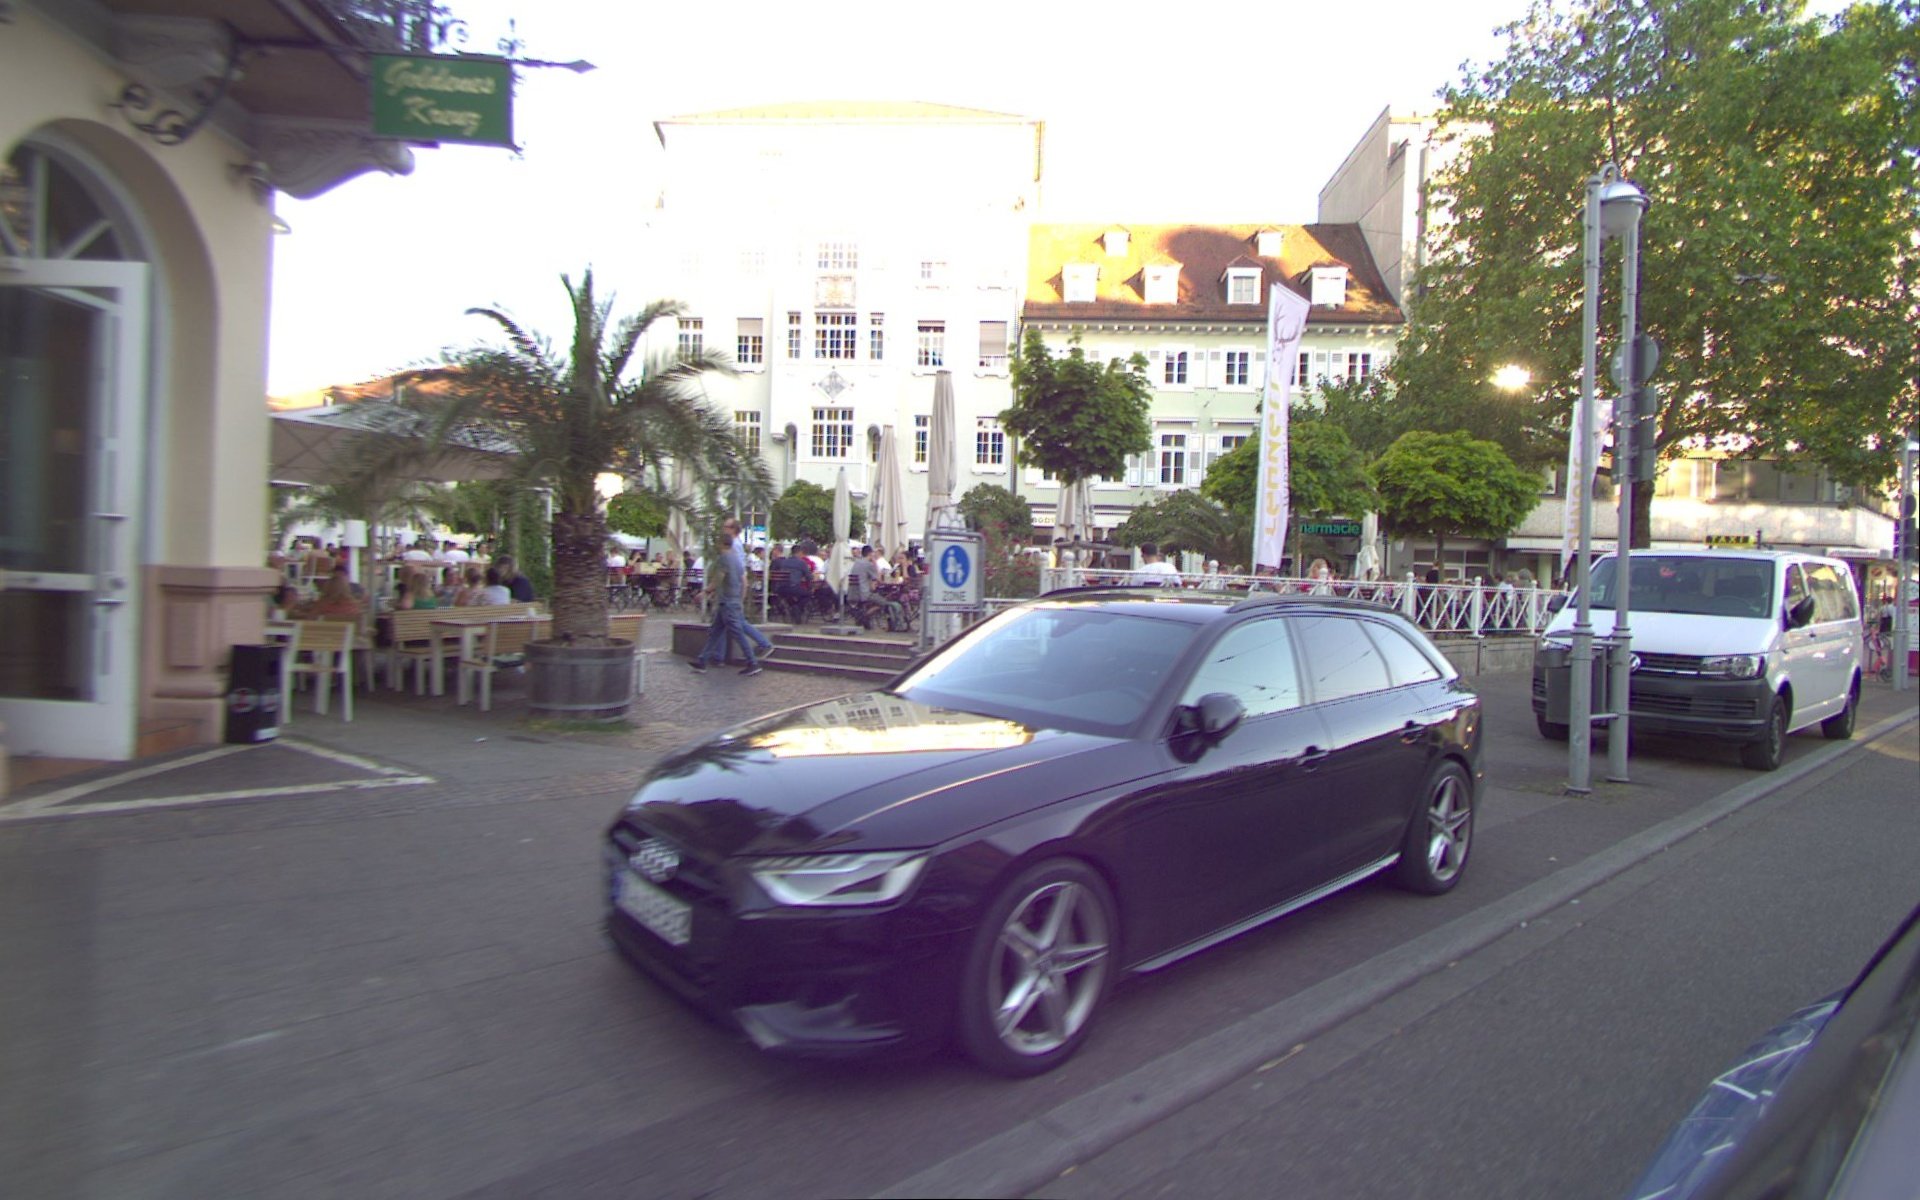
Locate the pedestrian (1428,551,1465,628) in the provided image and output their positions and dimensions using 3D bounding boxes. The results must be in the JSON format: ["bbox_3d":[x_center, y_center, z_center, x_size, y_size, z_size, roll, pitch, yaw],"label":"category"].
[{"bbox_3d":[10.166,-0.214,21.135,0.523,1.578,0.490,1,1,-40],"label":"pedestrian"}]

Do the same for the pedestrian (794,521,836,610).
[{"bbox_3d":[-2.850,-0.668,19.872,0.530,1.718,0.581,2,1,43],"label":"pedestrian"}]

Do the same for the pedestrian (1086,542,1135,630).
[{"bbox_3d":[2.347,-0.220,15.808,0.482,1.349,0.531,1,1,-40],"label":"pedestrian"}]

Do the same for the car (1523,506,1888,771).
[{"bbox_3d":[7.810,0.267,10.368,5.124,2.092,1.856,0,2,-41],"label":"car"}]

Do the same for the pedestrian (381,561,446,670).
[{"bbox_3d":[-6.719,0.174,12.438,0.592,1.296,0.484,2,1,37],"label":"pedestrian"}]

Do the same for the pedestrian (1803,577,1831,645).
[{"bbox_3d":[22.677,0.290,26.785,0.428,1.757,0.405,3,2,31],"label":"pedestrian"}]

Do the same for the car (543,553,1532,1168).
[{"bbox_3d":[0.735,0.577,4.479,4.468,1.407,1.700,0,3,-41],"label":"car"}]

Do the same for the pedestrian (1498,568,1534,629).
[{"bbox_3d":[12.185,-0.034,22.169,0.482,1.313,0.531,1,1,-40],"label":"pedestrian"}]

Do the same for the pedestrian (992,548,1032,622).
[{"bbox_3d":[0.961,-0.280,18.717,0.523,1.349,0.490,1,1,-40],"label":"pedestrian"}]

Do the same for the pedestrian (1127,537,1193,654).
[{"bbox_3d":[2.295,-0.058,11.641,0.482,1.312,0.531,1,1,-40],"label":"pedestrian"}]

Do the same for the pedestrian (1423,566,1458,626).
[{"bbox_3d":[10.853,-0.092,22.863,0.482,1.313,0.531,1,1,-40],"label":"pedestrian"}]

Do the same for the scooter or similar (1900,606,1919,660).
[{"bbox_3d":[23.310,0.799,24.532,1.627,1.247,0.534,0,3,-41],"label":"scooter or similar"}]

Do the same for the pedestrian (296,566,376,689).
[{"bbox_3d":[-6.521,0.268,10.582,0.665,1.232,0.484,2,1,37],"label":"pedestrian"}]

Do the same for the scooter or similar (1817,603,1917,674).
[{"bbox_3d":[17.624,0.730,19.677,0.526,1.247,1.344,0,4,-42],"label":"scooter or similar"}]

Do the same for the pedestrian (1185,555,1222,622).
[{"bbox_3d":[4.960,-0.241,20.616,0.523,1.349,0.490,1,1,-40],"label":"pedestrian"}]

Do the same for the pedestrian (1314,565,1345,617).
[{"bbox_3d":[9.416,-0.224,25.777,0.482,1.313,0.531,1,1,-40],"label":"pedestrian"}]

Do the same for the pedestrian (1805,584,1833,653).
[{"bbox_3d":[22.266,0.469,26.227,0.403,1.757,0.430,1,2,-45],"label":"pedestrian"}]

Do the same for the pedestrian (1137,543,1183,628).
[{"bbox_3d":[3.262,-0.236,16.520,0.482,1.349,0.531,1,1,-40],"label":"pedestrian"}]

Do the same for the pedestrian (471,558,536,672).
[{"bbox_3d":[-5.559,0.167,12.324,0.592,1.344,0.484,2,1,37],"label":"pedestrian"}]

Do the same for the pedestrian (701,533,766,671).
[{"bbox_3d":[-2.771,0.015,12.389,0.552,1.629,0.524,2,1,43],"label":"pedestrian"}]

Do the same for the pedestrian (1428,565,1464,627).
[{"bbox_3d":[10.601,-0.088,22.077,0.523,1.313,0.490,1,1,-40],"label":"pedestrian"}]

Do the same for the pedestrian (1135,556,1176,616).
[{"bbox_3d":[4.471,-0.320,23.116,0.653,1.349,0.628,1,1,-40],"label":"pedestrian"}]

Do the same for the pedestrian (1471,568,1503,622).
[{"bbox_3d":[13.112,-0.127,25.173,0.482,1.313,0.531,1,1,-40],"label":"pedestrian"}]

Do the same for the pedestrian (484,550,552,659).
[{"bbox_3d":[-5.672,0.049,12.992,0.488,1.344,0.629,2,1,36],"label":"pedestrian"}]

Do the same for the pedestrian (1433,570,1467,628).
[{"bbox_3d":[11.292,-0.029,23.311,0.482,1.313,0.531,1,1,-40],"label":"pedestrian"}]

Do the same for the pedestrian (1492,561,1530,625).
[{"bbox_3d":[11.826,-0.147,21.723,0.482,1.349,0.531,1,1,-40],"label":"pedestrian"}]

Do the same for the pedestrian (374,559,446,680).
[{"bbox_3d":[-6.129,0.207,11.286,0.592,1.296,0.484,2,1,37],"label":"pedestrian"}]

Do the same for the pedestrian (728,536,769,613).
[{"bbox_3d":[-3.817,-0.458,18.259,0.523,1.349,0.490,1,1,-40],"label":"pedestrian"}]

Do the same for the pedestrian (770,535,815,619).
[{"bbox_3d":[-2.746,-0.375,16.559,0.523,1.349,0.490,1,1,-40],"label":"pedestrian"}]

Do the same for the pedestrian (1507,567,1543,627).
[{"bbox_3d":[12.634,-0.078,22.642,0.482,1.313,0.531,1,1,-40],"label":"pedestrian"}]

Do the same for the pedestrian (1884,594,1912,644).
[{"bbox_3d":[31.851,0.631,34.371,0.635,1.645,0.512,2,1,39],"label":"pedestrian"}]

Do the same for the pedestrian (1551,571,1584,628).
[{"bbox_3d":[14.590,-0.010,24.305,0.482,1.349,0.531,1,1,-40],"label":"pedestrian"}]

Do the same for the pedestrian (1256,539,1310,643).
[{"bbox_3d":[4.202,-0.124,13.156,0.529,1.312,0.485,2,1,34],"label":"pedestrian"}]

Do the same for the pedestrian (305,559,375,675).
[{"bbox_3d":[-7.183,0.181,11.726,0.592,1.296,0.484,2,1,37],"label":"pedestrian"}]

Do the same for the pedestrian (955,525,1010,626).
[{"bbox_3d":[0.393,-0.427,17.647,0.588,1.713,0.721,2,1,42],"label":"pedestrian"}]

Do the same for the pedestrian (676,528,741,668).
[{"bbox_3d":[-3.188,-0.031,12.837,0.588,1.718,0.524,2,1,43],"label":"pedestrian"}]

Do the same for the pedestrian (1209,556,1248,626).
[{"bbox_3d":[5.261,-0.176,19.812,0.482,1.349,0.531,1,1,-40],"label":"pedestrian"}]

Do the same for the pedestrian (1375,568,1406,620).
[{"bbox_3d":[11.001,-0.153,25.851,0.482,1.313,0.531,1,1,-40],"label":"pedestrian"}]

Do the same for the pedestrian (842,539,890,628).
[{"bbox_3d":[-1.461,-0.258,15.751,0.523,1.349,0.490,1,1,-40],"label":"pedestrian"}]

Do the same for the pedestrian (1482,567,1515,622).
[{"bbox_3d":[13.071,-0.139,24.555,0.482,1.313,0.531,1,1,-40],"label":"pedestrian"}]

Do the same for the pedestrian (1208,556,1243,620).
[{"bbox_3d":[5.673,-0.251,21.609,0.523,1.349,0.490,1,1,-40],"label":"pedestrian"}]

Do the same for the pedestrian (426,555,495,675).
[{"bbox_3d":[-5.814,0.166,11.777,0.592,1.344,0.484,2,1,37],"label":"pedestrian"}]

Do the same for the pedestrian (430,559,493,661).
[{"bbox_3d":[-6.393,0.118,12.976,0.592,1.266,0.484,2,1,37],"label":"pedestrian"}]

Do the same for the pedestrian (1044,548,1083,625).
[{"bbox_3d":[1.784,-0.235,17.387,0.486,1.282,0.527,2,1,26],"label":"pedestrian"}]
